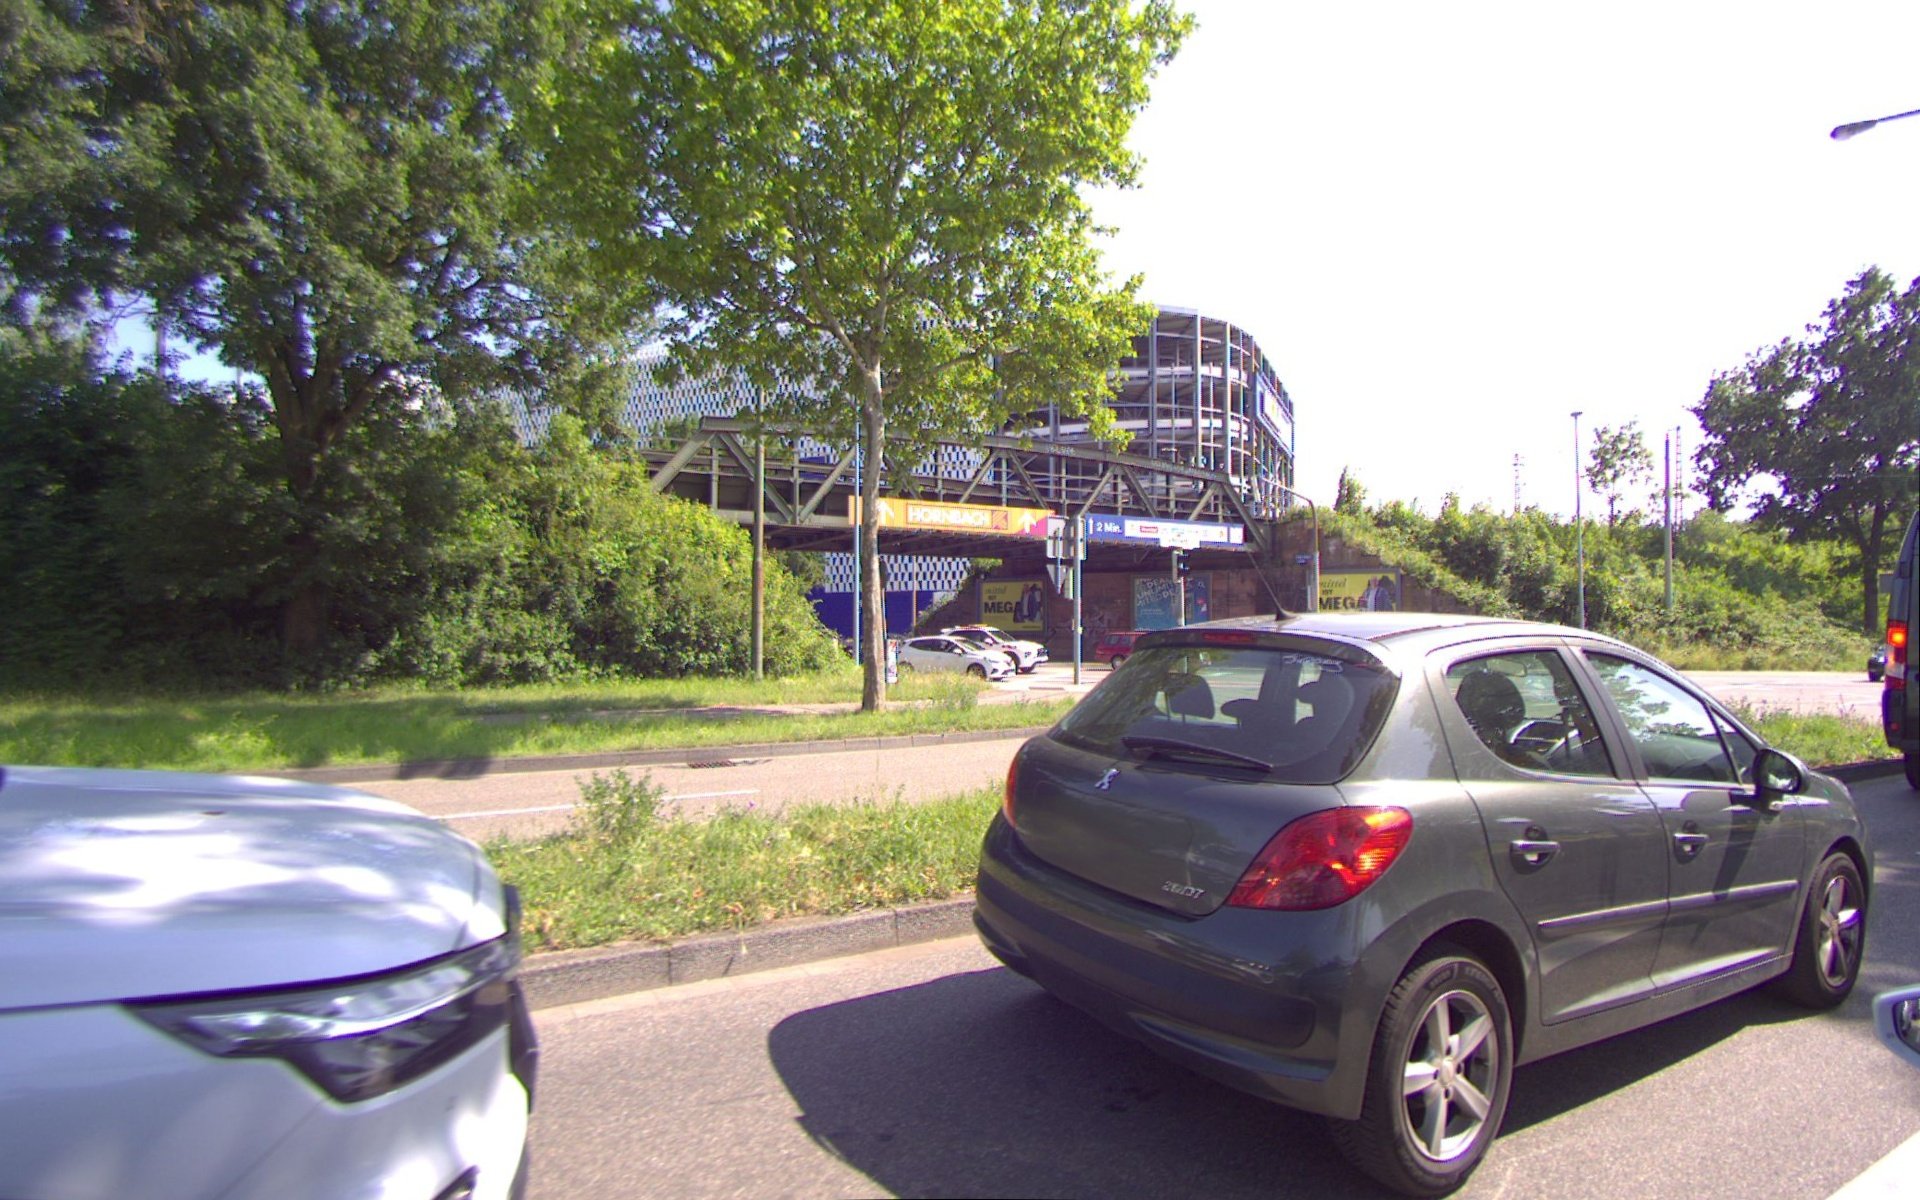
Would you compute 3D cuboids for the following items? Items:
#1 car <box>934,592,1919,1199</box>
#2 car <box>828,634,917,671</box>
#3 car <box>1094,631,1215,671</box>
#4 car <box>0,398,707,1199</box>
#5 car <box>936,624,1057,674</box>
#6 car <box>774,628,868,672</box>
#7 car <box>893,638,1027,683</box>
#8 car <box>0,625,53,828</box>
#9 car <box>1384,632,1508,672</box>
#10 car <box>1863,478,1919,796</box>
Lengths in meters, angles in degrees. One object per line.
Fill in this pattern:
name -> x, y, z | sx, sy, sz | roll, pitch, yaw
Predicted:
car -> 1.983, 0.771, 3.917 | 3.840, 1.525, 1.683 | 1, 0, -30
car -> -3.747, 2.237, 43.161 | 3.343, 1.547, 1.798 | -1, -2, 19
car -> 7.289, 1.894, 37.775 | 4.250, 1.445, 1.485 | -1, -2, 26
car -> -2.559, 0.591, 1.239 | 4.036, 1.669, 1.763 | 1, -1, -30
car -> 1.324, 1.781, 36.973 | 4.055, 1.754, 1.880 | -1, -2, 28
car -> -5.551, 1.977, 40.166 | 3.427, 1.570, 1.410 | 1, 0, 21
car -> -0.007, 1.910, 32.569 | 3.927, 1.363, 1.880 | -1, -2, 28
car -> -9.020, 0.914, 6.671 | 4.108, 1.505, 1.730 | 1, -2, -29
car -> 18.106, 1.911, 37.613 | 3.952, 1.437, 2.000 | -1, -2, 20
car -> 10.543, 0.364, 9.132 | 4.816, 2.692, 2.072 | 1, 0, -30
